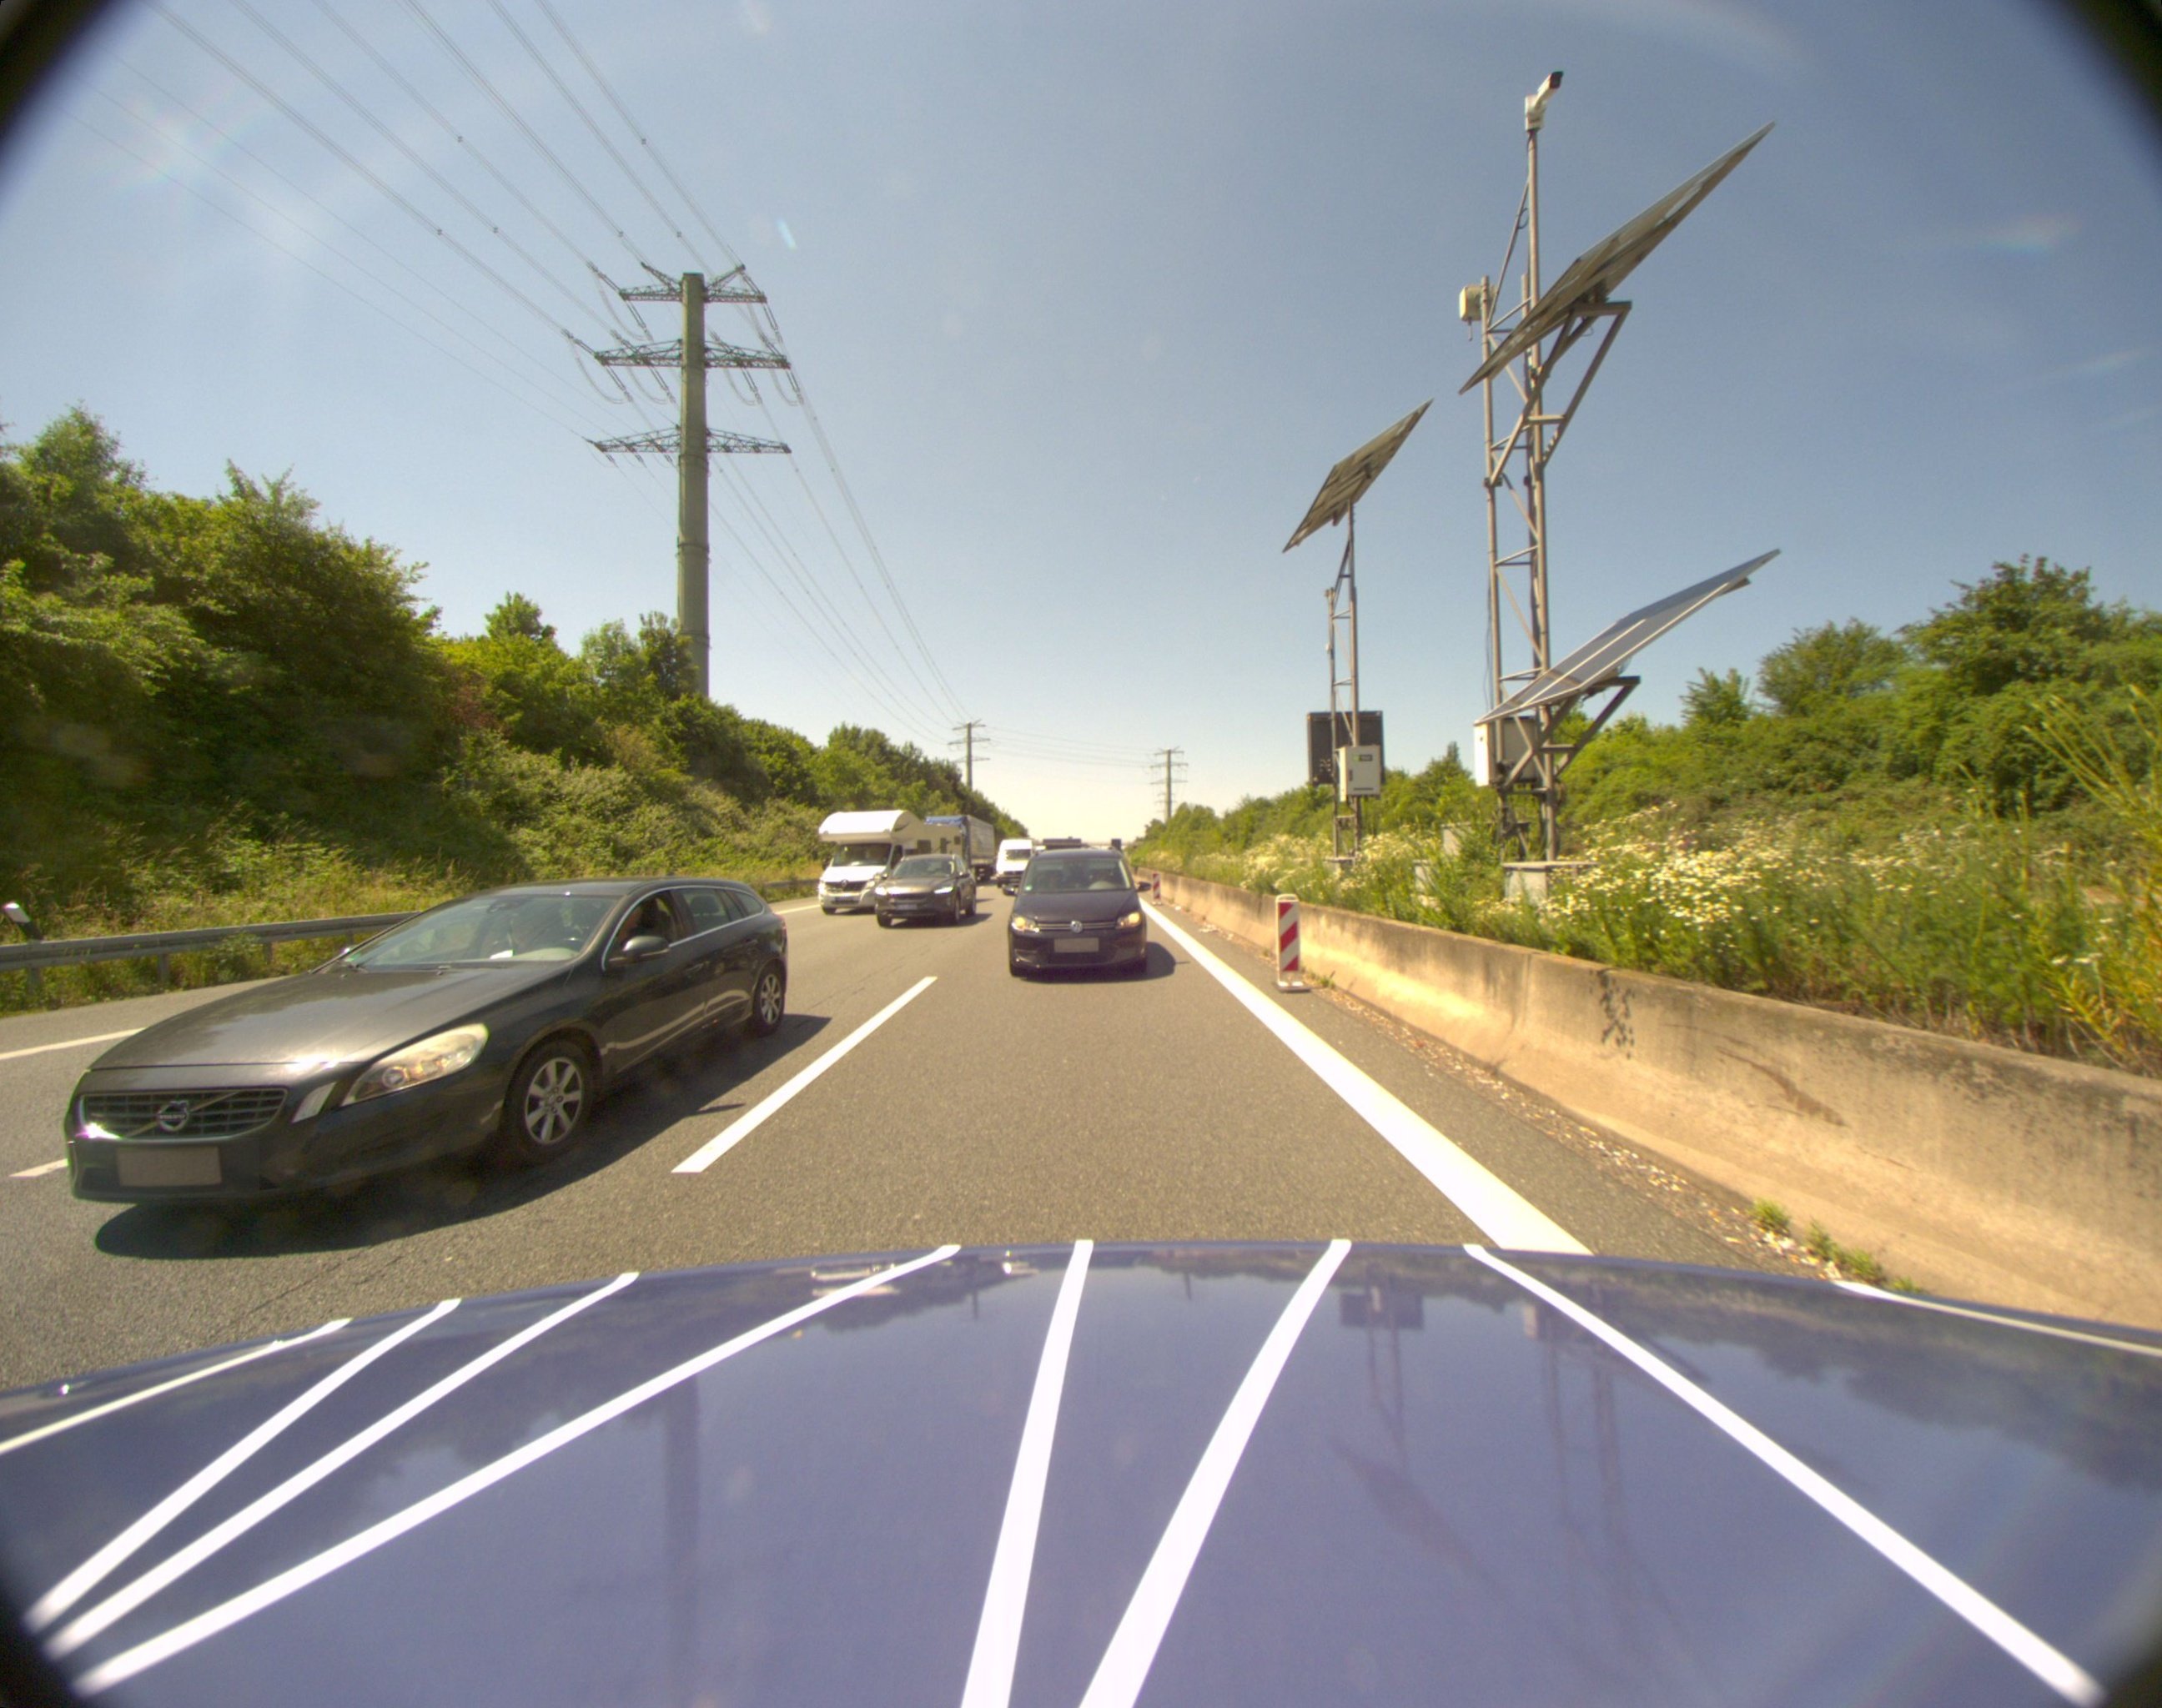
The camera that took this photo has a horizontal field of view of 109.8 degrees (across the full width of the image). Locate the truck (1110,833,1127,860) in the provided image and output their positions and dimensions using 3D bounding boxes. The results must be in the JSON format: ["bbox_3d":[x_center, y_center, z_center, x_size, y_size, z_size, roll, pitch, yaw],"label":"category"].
[{"bbox_3d":[4.623,-0.946,94.946,1.892,3.264,5.590,-2,1,1],"label":"truck"}]

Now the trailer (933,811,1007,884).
[{"bbox_3d":[-7.236,-0.464,51.551,2.774,4.239,12.877,-2,1,1],"label":"trailer"}]

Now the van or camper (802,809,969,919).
[{"bbox_3d":[-6.080,0.230,25.185,2.373,3.026,7.637,-2,1,9],"label":"van or camper"}]

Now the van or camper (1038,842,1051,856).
[{"bbox_3d":[-6.971,-1.032,145.771,1.978,2.511,4.369,-2,1,1],"label":"van or camper"}]

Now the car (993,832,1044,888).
[{"bbox_3d":[-3.265,0.250,41.157,2.042,2.703,6.705,-2,1,1],"label":"car"}]

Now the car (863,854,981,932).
[{"bbox_3d":[-3.735,0.850,18.643,1.893,1.602,4.219,-2,1,1],"label":"car"}]

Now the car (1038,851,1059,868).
[{"bbox_3d":[-3.165,0.507,74.135,1.720,1.510,3.874,-2,1,1],"label":"car"}]

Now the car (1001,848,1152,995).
[{"bbox_3d":[-0.025,0.771,10.987,1.700,1.641,4.219,-2,1,1],"label":"car"}]

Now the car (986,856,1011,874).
[{"bbox_3d":[-7.509,1.002,69.236,1.720,1.510,3.874,-2,1,1],"label":"car"}]

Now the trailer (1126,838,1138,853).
[{"bbox_3d":[15.446,-2.604,230.309,2.967,4.378,12.904,-2,1,1],"label":"trailer"}]

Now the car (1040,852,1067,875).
[{"bbox_3d":[-1.959,0.652,55.265,1.720,1.510,3.874,-2,1,1],"label":"car"}]

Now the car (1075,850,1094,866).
[{"bbox_3d":[0.438,0.410,86.842,1.973,1.682,3.874,-2,1,1],"label":"car"}]

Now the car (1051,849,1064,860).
[{"bbox_3d":[-3.414,0.023,111.893,1.720,1.510,3.874,-2,1,1],"label":"car"}]

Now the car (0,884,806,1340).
[{"bbox_3d":[-3.600,1.048,5.041,1.799,1.411,4.509,-2,1,1],"label":"car"}]

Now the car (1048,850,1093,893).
[{"bbox_3d":[-0.380,0.679,32.309,1.700,1.641,4.219,-2,1,1],"label":"car"}]

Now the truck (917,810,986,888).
[{"bbox_3d":[-7.353,-0.315,43.951,2.792,4.121,5.636,-2,1,1],"label":"truck"}]
